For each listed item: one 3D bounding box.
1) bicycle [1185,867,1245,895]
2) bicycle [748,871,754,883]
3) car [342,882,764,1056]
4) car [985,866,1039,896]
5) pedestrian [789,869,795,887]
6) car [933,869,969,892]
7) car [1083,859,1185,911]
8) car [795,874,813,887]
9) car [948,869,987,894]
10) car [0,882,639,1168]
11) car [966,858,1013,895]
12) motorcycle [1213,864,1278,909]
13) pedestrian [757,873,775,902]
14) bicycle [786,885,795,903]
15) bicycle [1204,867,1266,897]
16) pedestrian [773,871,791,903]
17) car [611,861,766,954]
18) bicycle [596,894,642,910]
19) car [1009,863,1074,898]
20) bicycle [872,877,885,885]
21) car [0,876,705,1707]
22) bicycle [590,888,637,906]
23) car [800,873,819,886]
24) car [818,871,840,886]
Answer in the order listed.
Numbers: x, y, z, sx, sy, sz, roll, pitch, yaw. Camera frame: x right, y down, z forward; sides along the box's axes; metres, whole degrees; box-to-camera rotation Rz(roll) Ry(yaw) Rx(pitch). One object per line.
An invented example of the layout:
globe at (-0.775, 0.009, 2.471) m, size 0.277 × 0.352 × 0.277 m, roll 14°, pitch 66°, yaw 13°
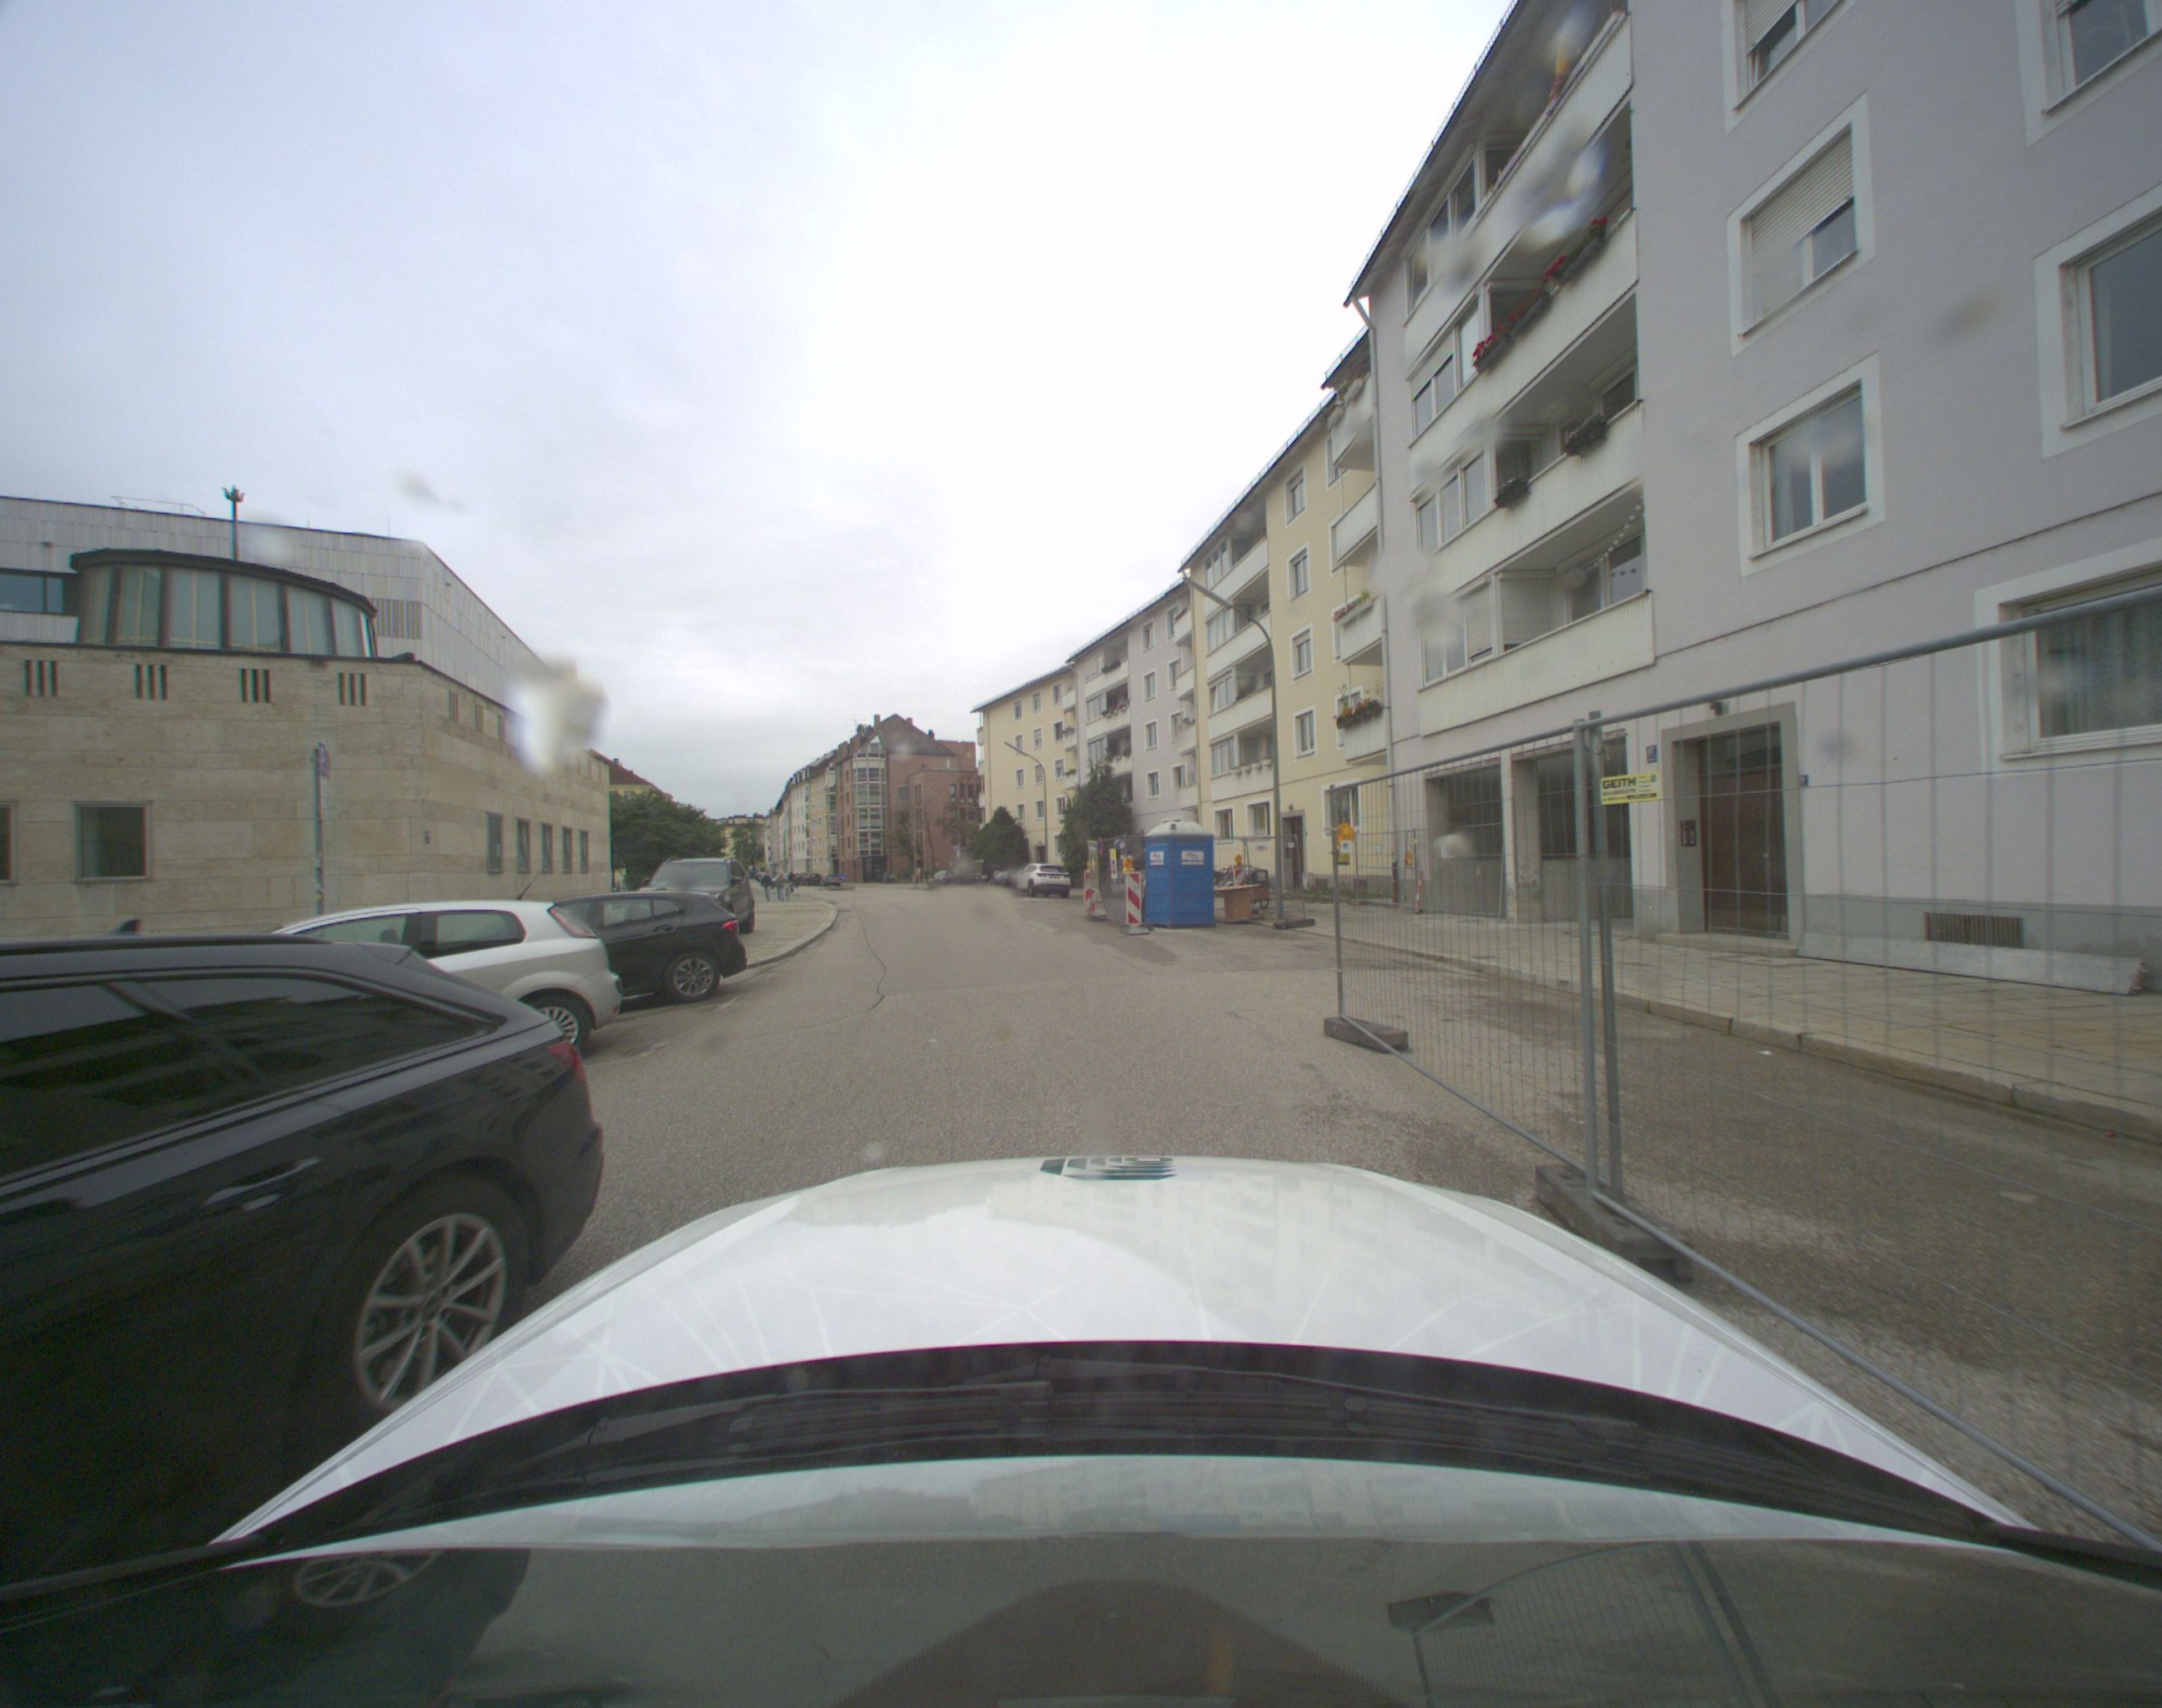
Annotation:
bicycle at (5.521, 1.116, 33.603) m, size 2.235 × 1.069 × 0.915 m, roll -2°, pitch -1°, yaw -13°
bicycle at (-61.891, 4.281, 152.762) m, size 1.030 × 2.014 × 3.254 m, roll -1°, pitch -5°, yaw -24°
car at (-6.297, 1.230, 10.036) m, size 4.019 × 1.421 × 1.792 m, roll -4°, pitch -1°, yaw -40°
car at (-3.769, 1.453, 44.093) m, size 1.789 × 1.519 × 3.689 m, roll -1°, pitch -1°, yaw -25°
pedestrian at (-24.823, 2.074, 70.028) m, size 0.463 × 1.460 × 0.440 m, roll -1°, pitch -2°, yaw -17°
car at (-9.177, 1.836, 57.329) m, size 1.788 × 1.510 × 3.693 m, roll -2°, pitch -1°, yaw -21°
car at (1.573, 0.935, 25.828) m, size 1.785 × 1.438 × 4.256 m, roll -2°, pitch -1°, yaw -17°
car at (-35.082, 3.325, 103.032) m, size 1.642 × 1.483 × 3.577 m, roll -1°, pitch -1°, yaw -28°
car at (-7.450, 1.764, 53.228) m, size 1.787 × 1.510 × 3.693 m, roll -1°, pitch -1°, yaw -21°
car at (-6.014, 1.152, 6.754) m, size 3.829 × 1.507 × 1.694 m, roll -4°, pitch -1°, yaw -39°
car at (-5.447, 1.331, 48.184) m, size 1.788 × 1.976 × 3.693 m, roll -4°, pitch 0°, yaw -21°
motorcycle at (4.847, 0.937, 24.211) m, size 0.933 × 1.221 × 2.496 m, roll -2°, pitch -1°, yaw -12°
pedestrian at (-18.285, 1.960, 47.275) m, size 0.761 × 1.630 × 0.918 m, roll -2°, pitch -1°, yaw -8°
bicycle at (-16.985, 2.321, 47.661) m, size 0.390 × 0.969 × 1.705 m, roll -2°, pitch -1°, yaw -17°
bicycle at (6.069, 1.096, 32.169) m, size 2.235 × 1.069 × 0.915 m, roll -2°, pitch -1°, yaw -13°
pedestrian at (-17.439, 1.916, 47.521) m, size 0.735 × 1.768 × 0.918 m, roll -2°, pitch -1°, yaw -8°
car at (-8.670, 1.113, 18.517) m, size 2.054 × 1.736 × 4.864 m, roll -2°, pitch -1°, yaw -12°
bicycle at (-25.313, 2.636, 44.660) m, size 2.127 × 0.879 × 0.821 m, roll 2°, pitch -3°, yaw -29°
car at (-1.956, 1.252, 39.407) m, size 1.839 × 1.574 × 3.968 m, roll -1°, pitch -1°, yaw -23°
bicycle at (-24.425, 3.234, 98.105) m, size 1.108 × 0.854 × 1.711 m, roll -1°, pitch -1°, yaw -31°
car at (-2.765, 0.857, 1.099) m, size 1.911 × 1.412 × 4.710 m, roll -4°, pitch 0°, yaw 5°
bicycle at (-24.056, 2.211, 41.937) m, size 2.042 × 0.886 × 0.669 m, roll 2°, pitch -3°, yaw -29°
car at (-32.832, 3.128, 98.521) m, size 1.642 × 1.483 × 3.577 m, roll -1°, pitch -1°, yaw -28°
car at (-27.687, 2.675, 89.521) m, size 1.642 × 1.483 × 3.577 m, roll -1°, pitch -1°, yaw -28°
